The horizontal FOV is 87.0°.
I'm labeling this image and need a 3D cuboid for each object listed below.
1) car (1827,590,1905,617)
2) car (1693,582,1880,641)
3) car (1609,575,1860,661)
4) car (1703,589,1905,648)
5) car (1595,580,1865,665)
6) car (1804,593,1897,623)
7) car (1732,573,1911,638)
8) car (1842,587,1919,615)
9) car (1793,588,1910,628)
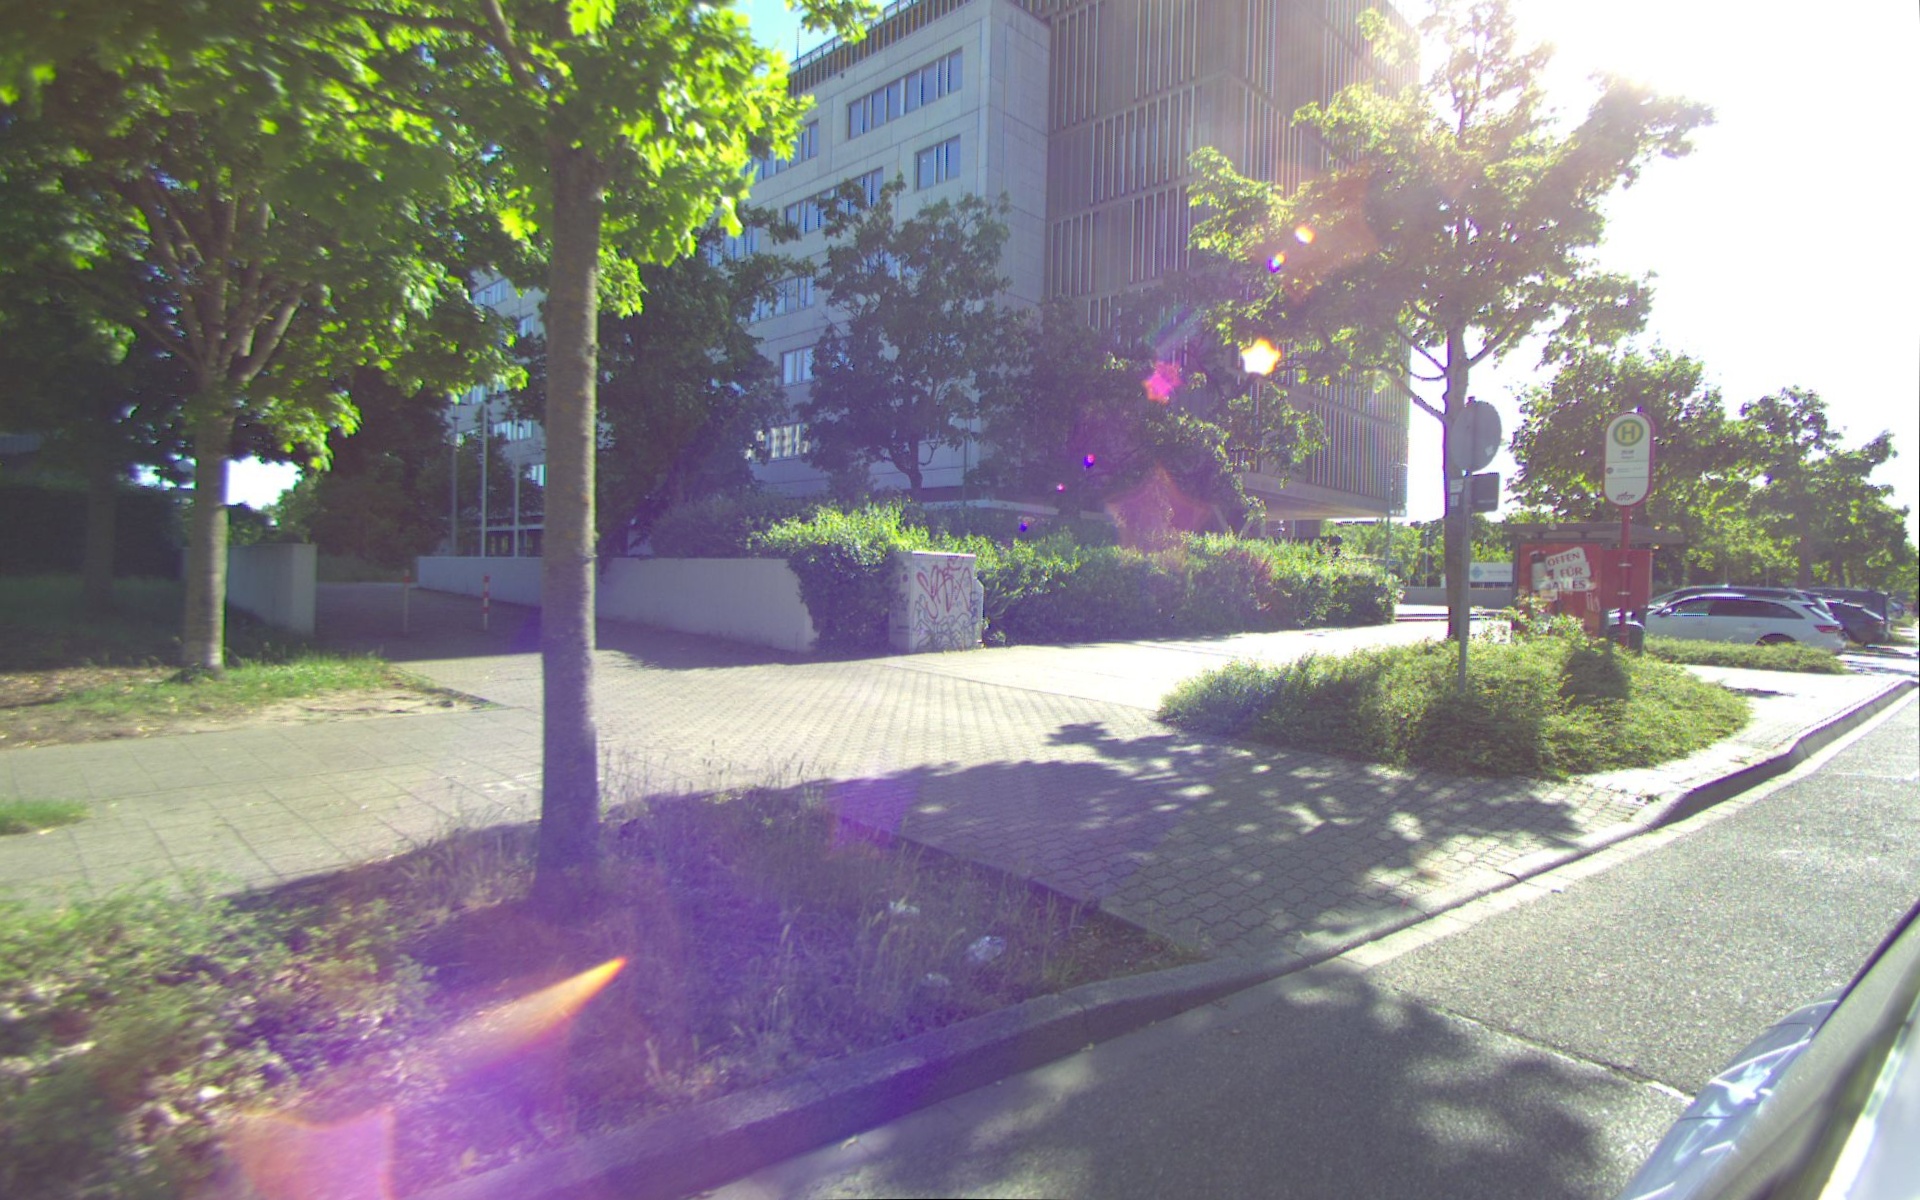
[{"bbox_3d":[58.925,0.198,65.844,3.709,1.544,1.649,4,3,44],"label":"car"},{"bbox_3d":[26.207,0.307,32.184,2.041,1.576,4.405,0,3,-45],"label":"car"},{"bbox_3d":[18.022,0.340,23.697,2.041,1.661,4.405,0,3,-45],"label":"car"},{"bbox_3d":[24.939,0.485,29.998,2.041,1.426,4.405,0,3,-45],"label":"car"},{"bbox_3d":[16.532,0.408,21.894,1.865,1.481,4.405,0,3,-45],"label":"car"},{"bbox_3d":[49.137,0.398,55.896,3.754,1.443,1.704,4,3,44],"label":"car"},{"bbox_3d":[28.897,0.120,34.039,2.041,1.915,4.405,0,3,-45],"label":"car"},{"bbox_3d":[61.141,0.040,67.265,3.709,1.692,1.649,4,3,44],"label":"car"},{"bbox_3d":[41.301,0.345,46.946,3.951,1.620,1.650,4,3,43],"label":"car"}]
